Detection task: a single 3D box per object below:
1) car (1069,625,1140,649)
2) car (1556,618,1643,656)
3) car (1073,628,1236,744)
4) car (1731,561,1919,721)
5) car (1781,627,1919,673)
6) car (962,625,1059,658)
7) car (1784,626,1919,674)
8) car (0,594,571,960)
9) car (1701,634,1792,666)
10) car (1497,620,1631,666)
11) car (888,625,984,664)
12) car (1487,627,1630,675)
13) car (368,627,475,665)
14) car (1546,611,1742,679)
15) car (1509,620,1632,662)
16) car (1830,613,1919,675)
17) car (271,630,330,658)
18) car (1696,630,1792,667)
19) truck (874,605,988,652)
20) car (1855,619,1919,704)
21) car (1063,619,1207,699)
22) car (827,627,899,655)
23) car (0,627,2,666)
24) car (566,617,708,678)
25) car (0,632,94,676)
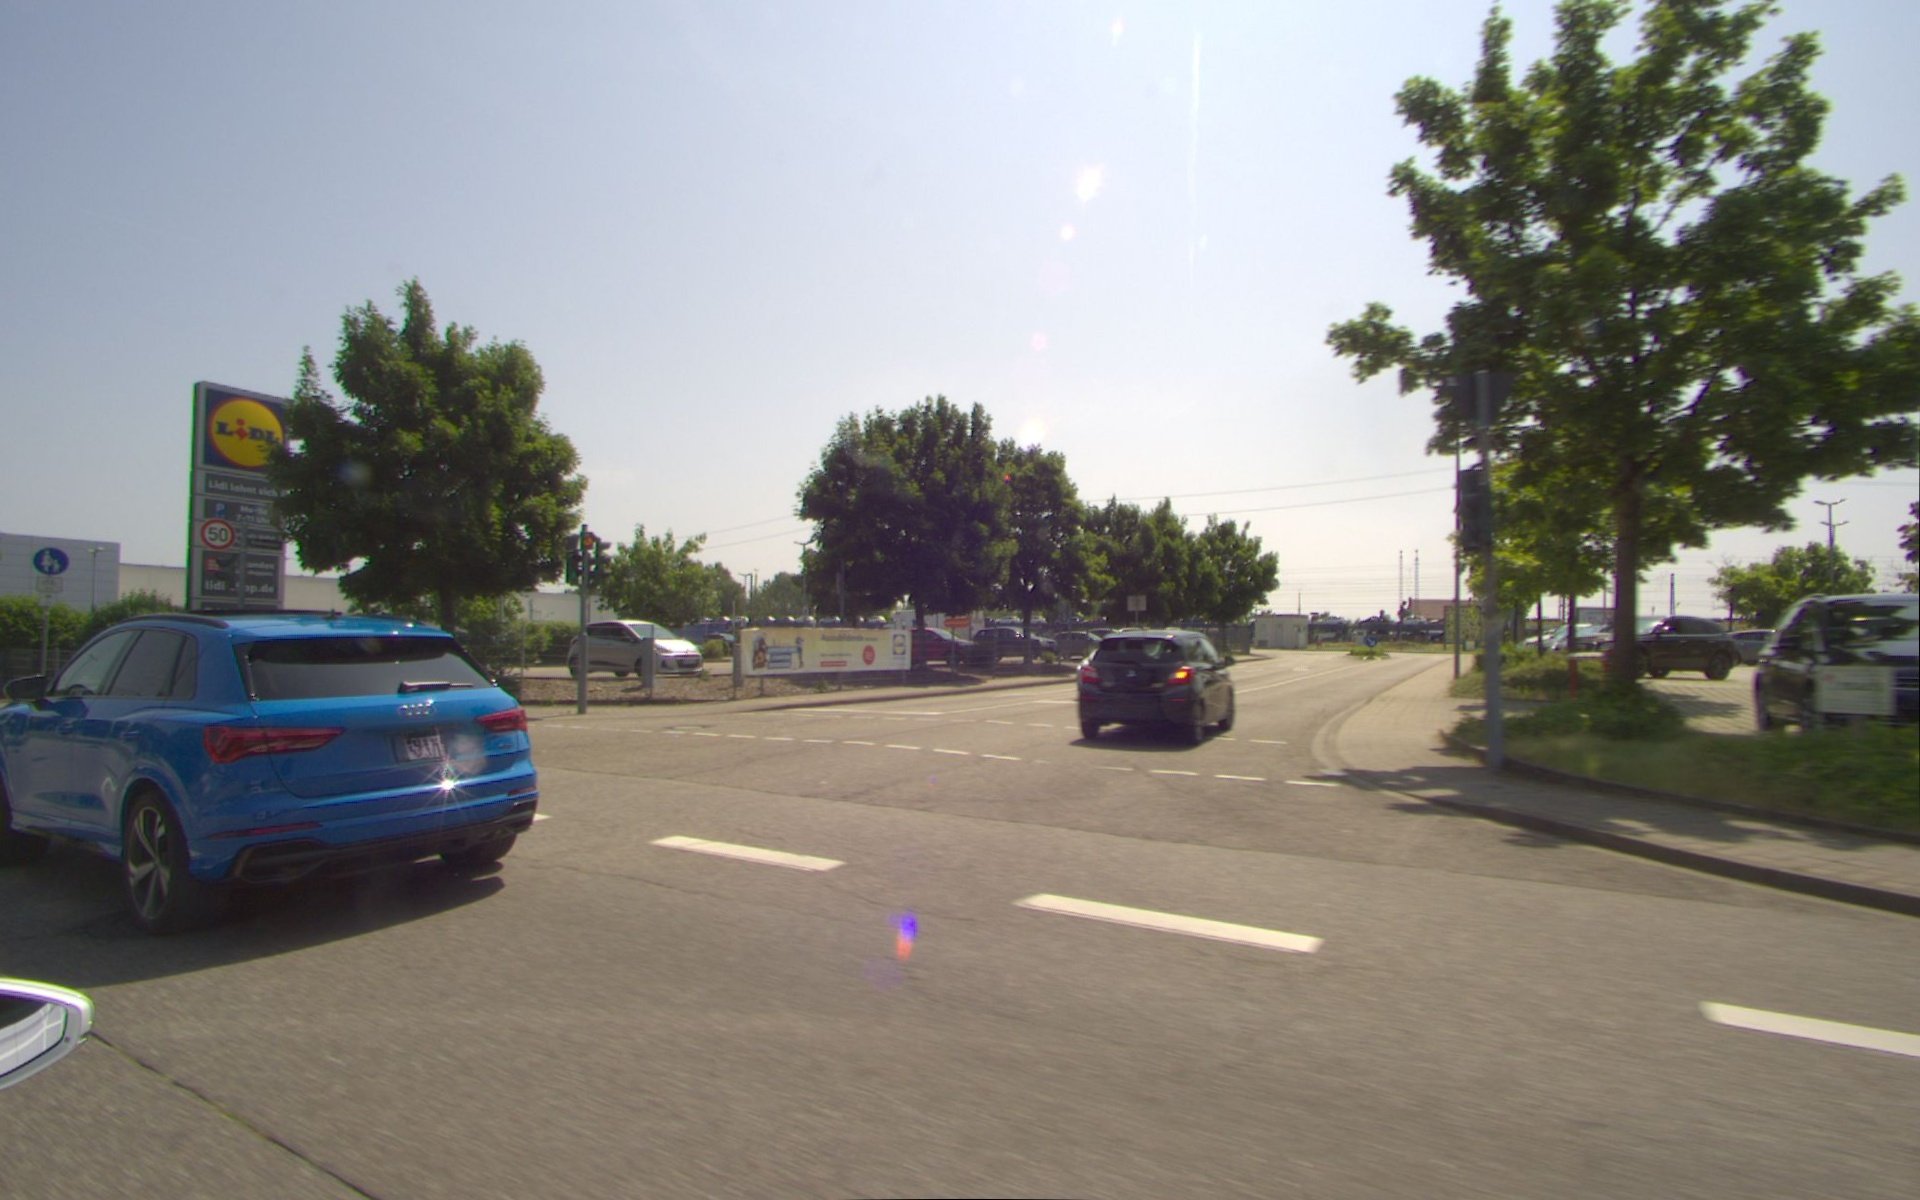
[{"bbox_3d":[8.210,2.113,57.071,3.696,1.306,1.648,-1,-2,27],"label":"car"},{"bbox_3d":[26.465,1.519,41.451,2.940,1.485,1.420,-1,-2,38],"label":"car"},{"bbox_3d":[2.858,1.116,14.166,1.594,1.419,3.423,0,-2,23],"label":"car"},{"bbox_3d":[9.395,0.410,10.064,1.834,1.356,3.987,-1,-2,26],"label":"car"},{"bbox_3d":[33.100,1.814,37.022,1.748,1.616,3.968,1,-2,-39],"label":"car"},{"bbox_3d":[2.309,1.892,46.429,4.263,1.468,1.701,-1,-2,33],"label":"car"},{"bbox_3d":[31.672,1.715,35.170,1.748,1.616,3.968,1,-2,-39],"label":"car"},{"bbox_3d":[-4.576,0.826,6.366,4.289,1.613,1.805,-1,-1,33],"label":"car"},{"bbox_3d":[34.206,2.140,43.573,1.349,1.340,2.976,1,-2,-44],"label":"car"},{"bbox_3d":[19.096,1.343,31.751,3.552,1.371,1.744,-1,-2,32],"label":"car"},{"bbox_3d":[-0.946,1.739,39.359,3.370,1.467,1.702,-1,-1,24],"label":"car"},{"bbox_3d":[17.828,1.492,29.925,3.552,1.371,1.744,-1,-2,32],"label":"car"},{"bbox_3d":[-21.165,1.801,39.338,4.017,1.412,1.734,-2,-2,28],"label":"car"},{"bbox_3d":[17.841,1.160,26.170,4.269,1.661,1.997,1,-1,-17],"label":"car"},{"bbox_3d":[21.072,1.405,34.655,3.552,1.371,1.744,-1,-2,32],"label":"car"},{"bbox_3d":[28.547,1.315,29.469,1.653,1.811,4.163,4,-3,-36],"label":"car"},{"bbox_3d":[-34.409,2.278,52.243,2.910,1.438,1.264,-1,-1,26],"label":"car"},{"bbox_3d":[32.447,1.980,41.469,1.349,1.505,2.976,1,-2,-44],"label":"car"},{"bbox_3d":[-2.625,2.486,86.689,9.883,3.887,2.847,-1,-1,30],"label":"truck"},{"bbox_3d":[16.765,1.011,16.244,1.783,1.416,3.996,-1,-2,16],"label":"car"},{"bbox_3d":[4.074,1.271,22.787,1.782,1.638,4.240,-1,-2,32],"label":"car"},{"bbox_3d":[-5.342,2.244,55.167,3.746,1.496,1.628,-1,-1,32],"label":"car"},{"bbox_3d":[-37.142,1.648,35.693,1.671,1.439,3.997,-1,-3,27],"label":"car"},{"bbox_3d":[-8.289,1.178,25.643,3.478,1.458,1.419,0,0,27],"label":"car"},{"bbox_3d":[-31.512,1.766,33.006,1.672,1.439,4.168,-1,-3,29],"label":"car"}]
